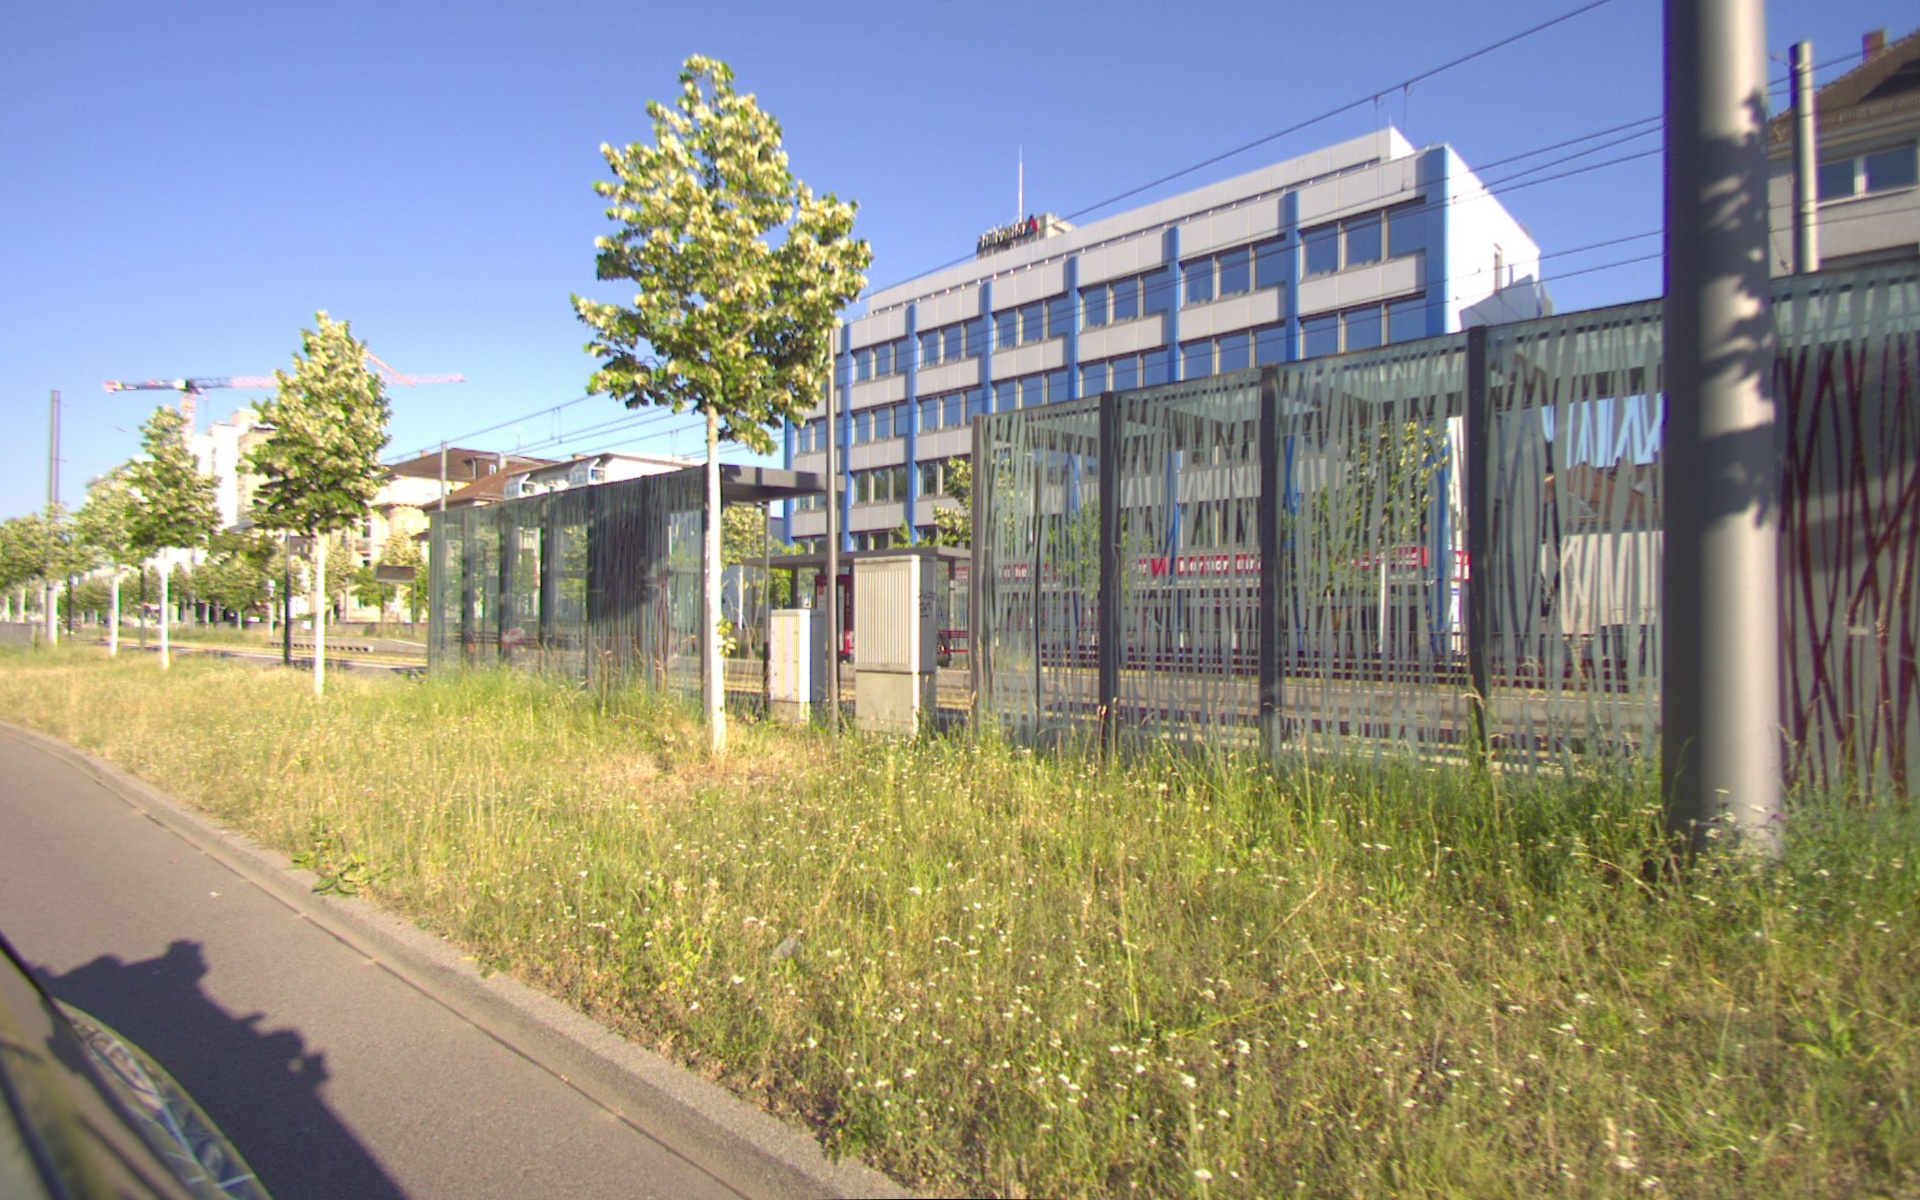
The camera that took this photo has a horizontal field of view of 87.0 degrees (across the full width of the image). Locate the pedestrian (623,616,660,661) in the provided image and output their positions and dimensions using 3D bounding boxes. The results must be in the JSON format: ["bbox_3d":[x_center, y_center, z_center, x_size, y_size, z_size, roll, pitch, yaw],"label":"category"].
[{"bbox_3d":[-10.228,1.222,32.477,0.803,1.421,0.829,-1,-2,41],"label":"pedestrian"}]

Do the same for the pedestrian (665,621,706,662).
[{"bbox_3d":[-8.338,1.255,30.731,0.764,1.206,0.924,-1,-2,41],"label":"pedestrian"}]

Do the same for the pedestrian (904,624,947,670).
[{"bbox_3d":[-0.803,1.093,23.694,0.794,1.055,0.620,-1,-2,41],"label":"pedestrian"}]
